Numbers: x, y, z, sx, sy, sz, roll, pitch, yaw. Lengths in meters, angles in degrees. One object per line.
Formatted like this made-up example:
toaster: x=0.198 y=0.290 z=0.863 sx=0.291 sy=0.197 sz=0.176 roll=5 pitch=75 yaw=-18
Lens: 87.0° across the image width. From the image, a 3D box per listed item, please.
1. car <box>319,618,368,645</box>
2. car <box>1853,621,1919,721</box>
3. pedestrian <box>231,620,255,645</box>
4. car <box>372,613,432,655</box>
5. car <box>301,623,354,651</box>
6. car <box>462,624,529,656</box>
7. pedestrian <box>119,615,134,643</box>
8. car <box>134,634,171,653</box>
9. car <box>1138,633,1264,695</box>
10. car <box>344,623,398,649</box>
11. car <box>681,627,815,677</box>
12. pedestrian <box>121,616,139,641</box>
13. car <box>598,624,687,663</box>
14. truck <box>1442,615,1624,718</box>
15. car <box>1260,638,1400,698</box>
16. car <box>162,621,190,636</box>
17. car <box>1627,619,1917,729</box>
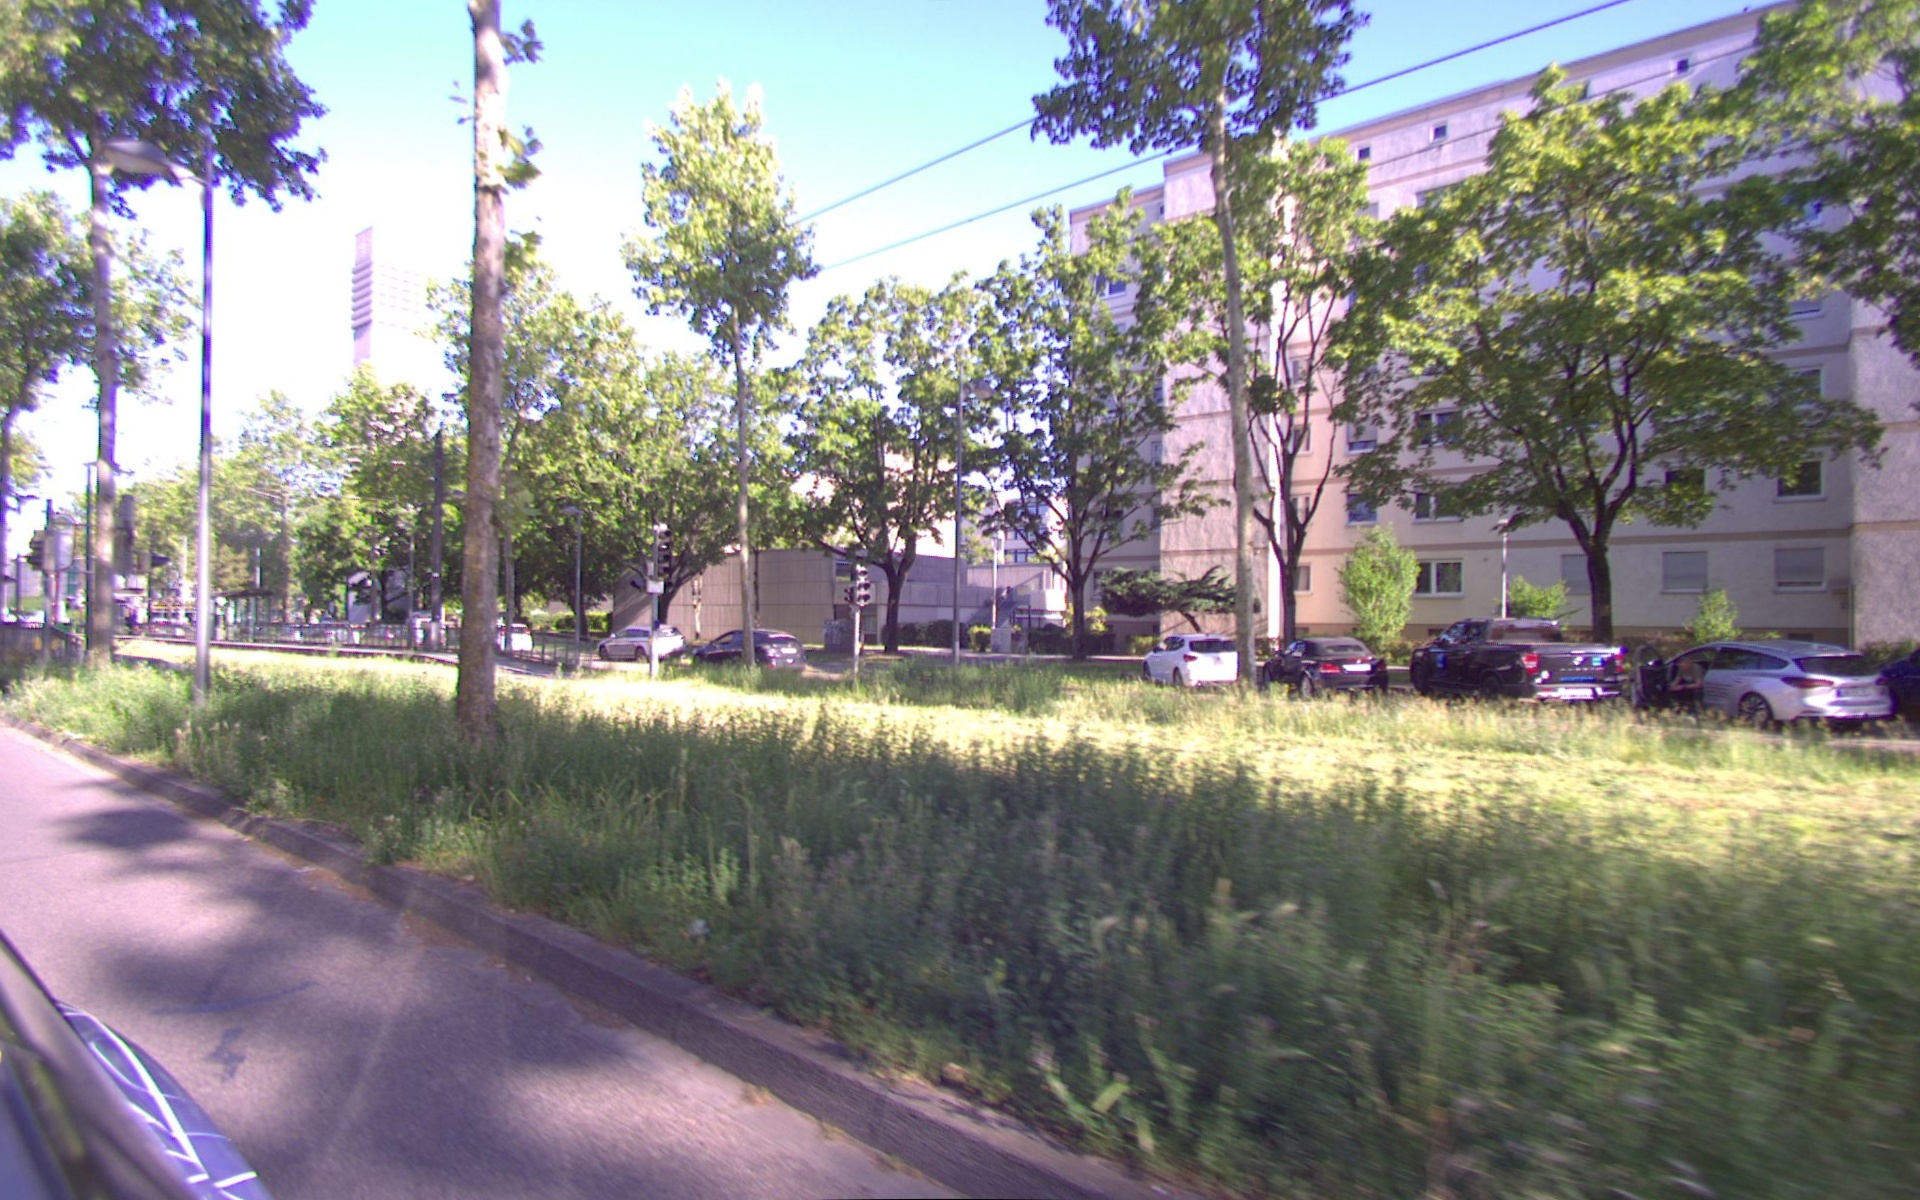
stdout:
car: x=-39.675 y=2.014 z=65.127 sx=3.928 sy=1.648 sz=1.577 roll=-1 pitch=-3 yaw=41
car: x=16.951 y=1.140 z=16.065 sx=1.626 sy=1.658 sz=4.089 roll=-2 pitch=-2 yaw=-5
pedestrian: x=-36.588 y=1.656 z=51.652 sx=0.825 sy=1.270 sz=0.802 roll=0 pitch=-1 yaw=-20
car: x=-31.529 y=1.932 z=57.190 sx=3.931 sy=2.279 sz=1.696 roll=-1 pitch=-3 yaw=41
car: x=-36.990 y=2.161 z=59.198 sx=3.934 sy=1.557 sz=1.695 roll=-1 pitch=-3 yaw=44
car: x=-23.072 y=1.965 z=50.234 sx=3.935 sy=1.557 sz=1.694 roll=-1 pitch=-3 yaw=44
pedestrian: x=-57.234 y=1.971 z=69.503 sx=0.636 sy=1.881 sz=0.712 roll=-1 pitch=-2 yaw=42
car: x=-62.386 y=3.355 z=78.170 sx=3.534 sy=1.438 sz=1.589 roll=-1 pitch=-2 yaw=40
car: x=6.009 y=1.559 z=25.708 sx=1.811 sy=1.446 sz=3.832 roll=1 pitch=-2 yaw=-8
car: x=-35.142 y=2.132 z=60.382 sx=4.018 sy=1.500 sz=1.577 roll=-1 pitch=-3 yaw=41
car: x=-6.469 y=1.533 z=30.710 sx=4.168 sy=1.400 sz=1.971 roll=-1 pitch=-2 yaw=44
pedestrian: x=-56.578 y=1.961 z=68.991 sx=0.754 sy=1.702 sz=0.873 roll=-1 pitch=-2 yaw=42
car: x=-13.302 y=1.789 z=42.316 sx=4.200 sy=1.557 sz=1.695 roll=-1 pitch=-3 yaw=43
truck: x=11.296 y=1.224 z=20.287 sx=1.631 sy=1.788 sz=4.078 roll=0 pitch=0 yaw=6
car: x=8.503 y=1.523 z=23.630 sx=1.814 sy=1.256 sz=3.825 roll=0 pitch=-2 yaw=-1
car: x=-69.680 y=2.535 z=89.945 sx=3.374 sy=1.251 sz=1.249 roll=-1 pitch=-3 yaw=41
car: x=14.065 y=1.212 z=17.874 sx=1.626 sy=1.658 sz=4.088 roll=2 pitch=-2 yaw=-4
